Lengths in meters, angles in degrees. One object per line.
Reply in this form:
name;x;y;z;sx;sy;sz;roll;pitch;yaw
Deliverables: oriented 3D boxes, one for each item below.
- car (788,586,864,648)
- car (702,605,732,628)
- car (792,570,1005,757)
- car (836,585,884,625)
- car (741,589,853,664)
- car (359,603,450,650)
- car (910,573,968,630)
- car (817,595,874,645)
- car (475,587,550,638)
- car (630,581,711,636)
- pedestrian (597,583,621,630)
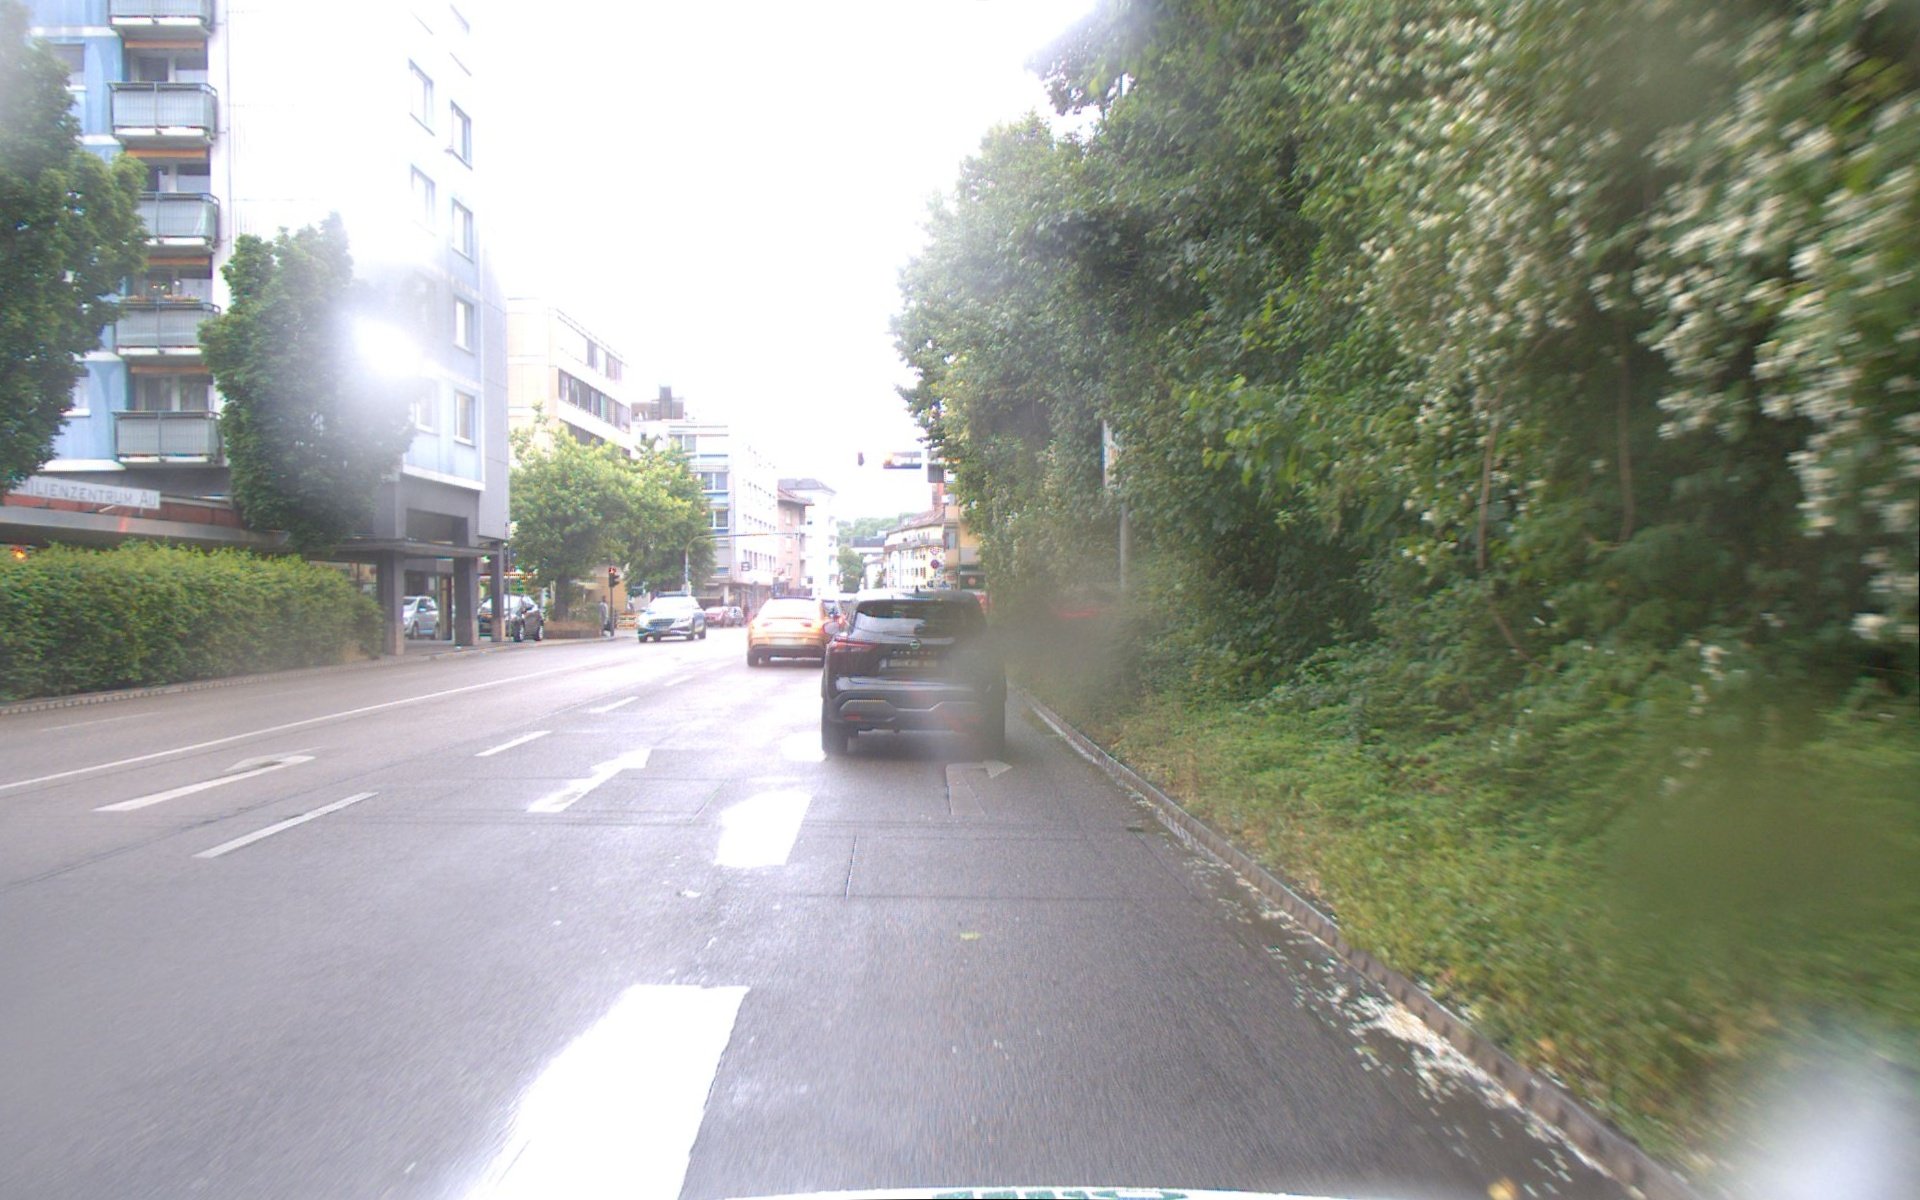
car;-3.431;0.421;43.063;1.708;1.513;4.160;-1;0;-1
car;-17.023;1.144;115.954;1.639;1.504;3.606;-2;0;-3
car;-0.634;0.562;17.083;1.920;1.681;3.998;-1;0;-2
car;-3.746;0.162;62.578;1.732;1.469;3.998;-1;0;-3
car;-3.470;0.531;35.965;2.024;1.489;4.586;-1;0;-1
car;-20.492;0.947;61.170;1.953;1.684;4.509;0;0;-2
car;-0.770;0.043;62.921;1.952;2.049;4.002;-1;0;3
car;-3.405;0.577;49.777;1.580;1.445;3.965;0;0;-2
car;-15.652;0.423;57.984;1.508;1.736;4.286;0;0;-1
car;-9.777;0.253;56.156;1.953;1.780;4.807;-1;0;-1
pedestrian;-15.533;0.299;73.179;0.923;2.049;0.884;-2;0;-10
